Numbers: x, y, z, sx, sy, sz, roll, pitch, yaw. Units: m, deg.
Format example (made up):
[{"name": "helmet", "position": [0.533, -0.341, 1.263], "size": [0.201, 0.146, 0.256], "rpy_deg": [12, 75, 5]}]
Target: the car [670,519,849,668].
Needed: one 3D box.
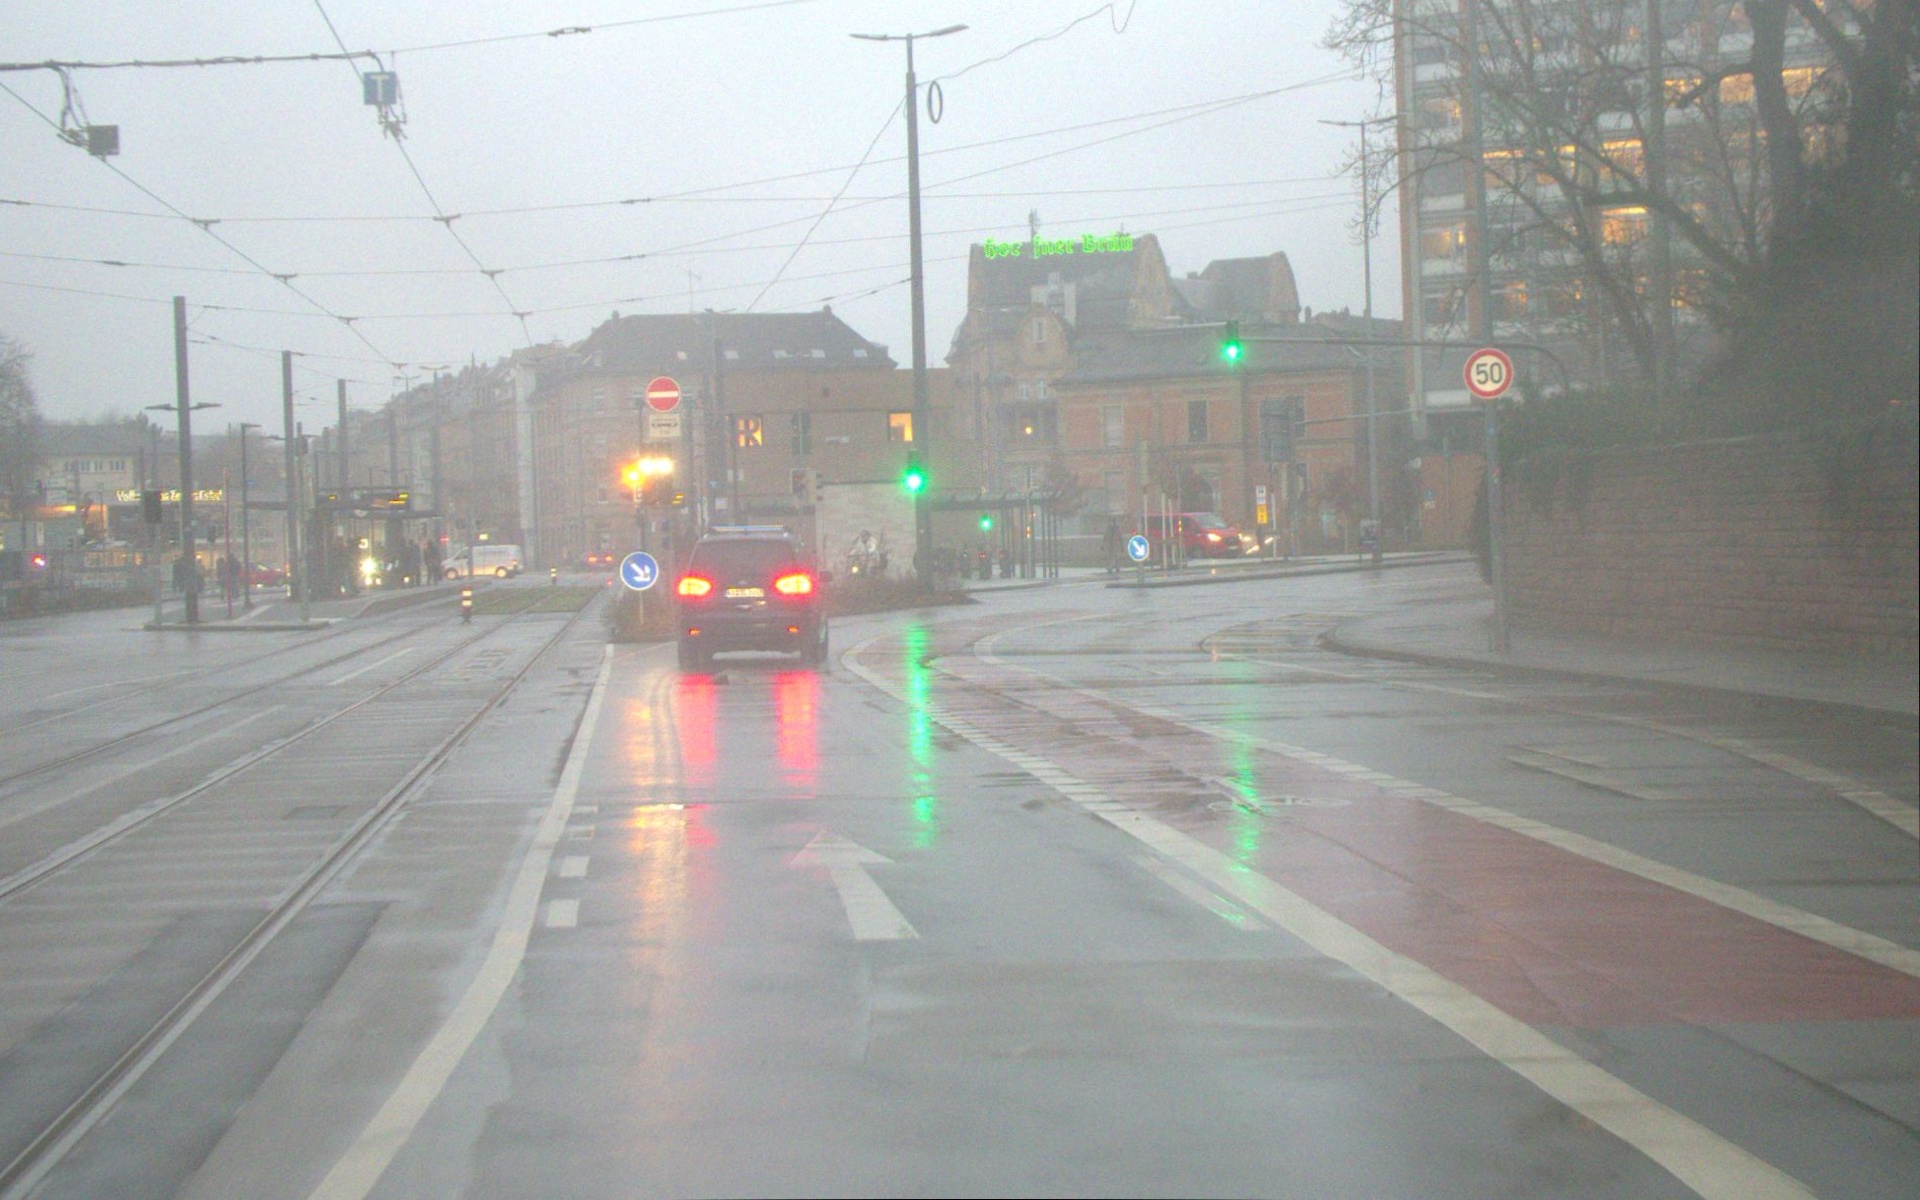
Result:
[{"name": "car", "position": [-2.627, -0.129, 45.782], "size": [1.647, 1.812, 3.999], "rpy_deg": [0, 2, 8]}]

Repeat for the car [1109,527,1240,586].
[{"name": "car", "position": [8.604, -1.751, 137.974], "size": [2.252, 2.273, 5.035], "rpy_deg": [0, 1, -44]}]

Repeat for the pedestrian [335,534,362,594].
[{"name": "pedestrian", "position": [-17.777, -1.050, 99.925], "size": [0.712, 1.751, 0.717], "rpy_deg": [0, 0, -4]}]

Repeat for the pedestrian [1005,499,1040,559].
[{"name": "pedestrian", "position": [1.741, -1.981, 96.444], "size": [0.674, 1.668, 0.729], "rpy_deg": [1, 0, 33]}]
